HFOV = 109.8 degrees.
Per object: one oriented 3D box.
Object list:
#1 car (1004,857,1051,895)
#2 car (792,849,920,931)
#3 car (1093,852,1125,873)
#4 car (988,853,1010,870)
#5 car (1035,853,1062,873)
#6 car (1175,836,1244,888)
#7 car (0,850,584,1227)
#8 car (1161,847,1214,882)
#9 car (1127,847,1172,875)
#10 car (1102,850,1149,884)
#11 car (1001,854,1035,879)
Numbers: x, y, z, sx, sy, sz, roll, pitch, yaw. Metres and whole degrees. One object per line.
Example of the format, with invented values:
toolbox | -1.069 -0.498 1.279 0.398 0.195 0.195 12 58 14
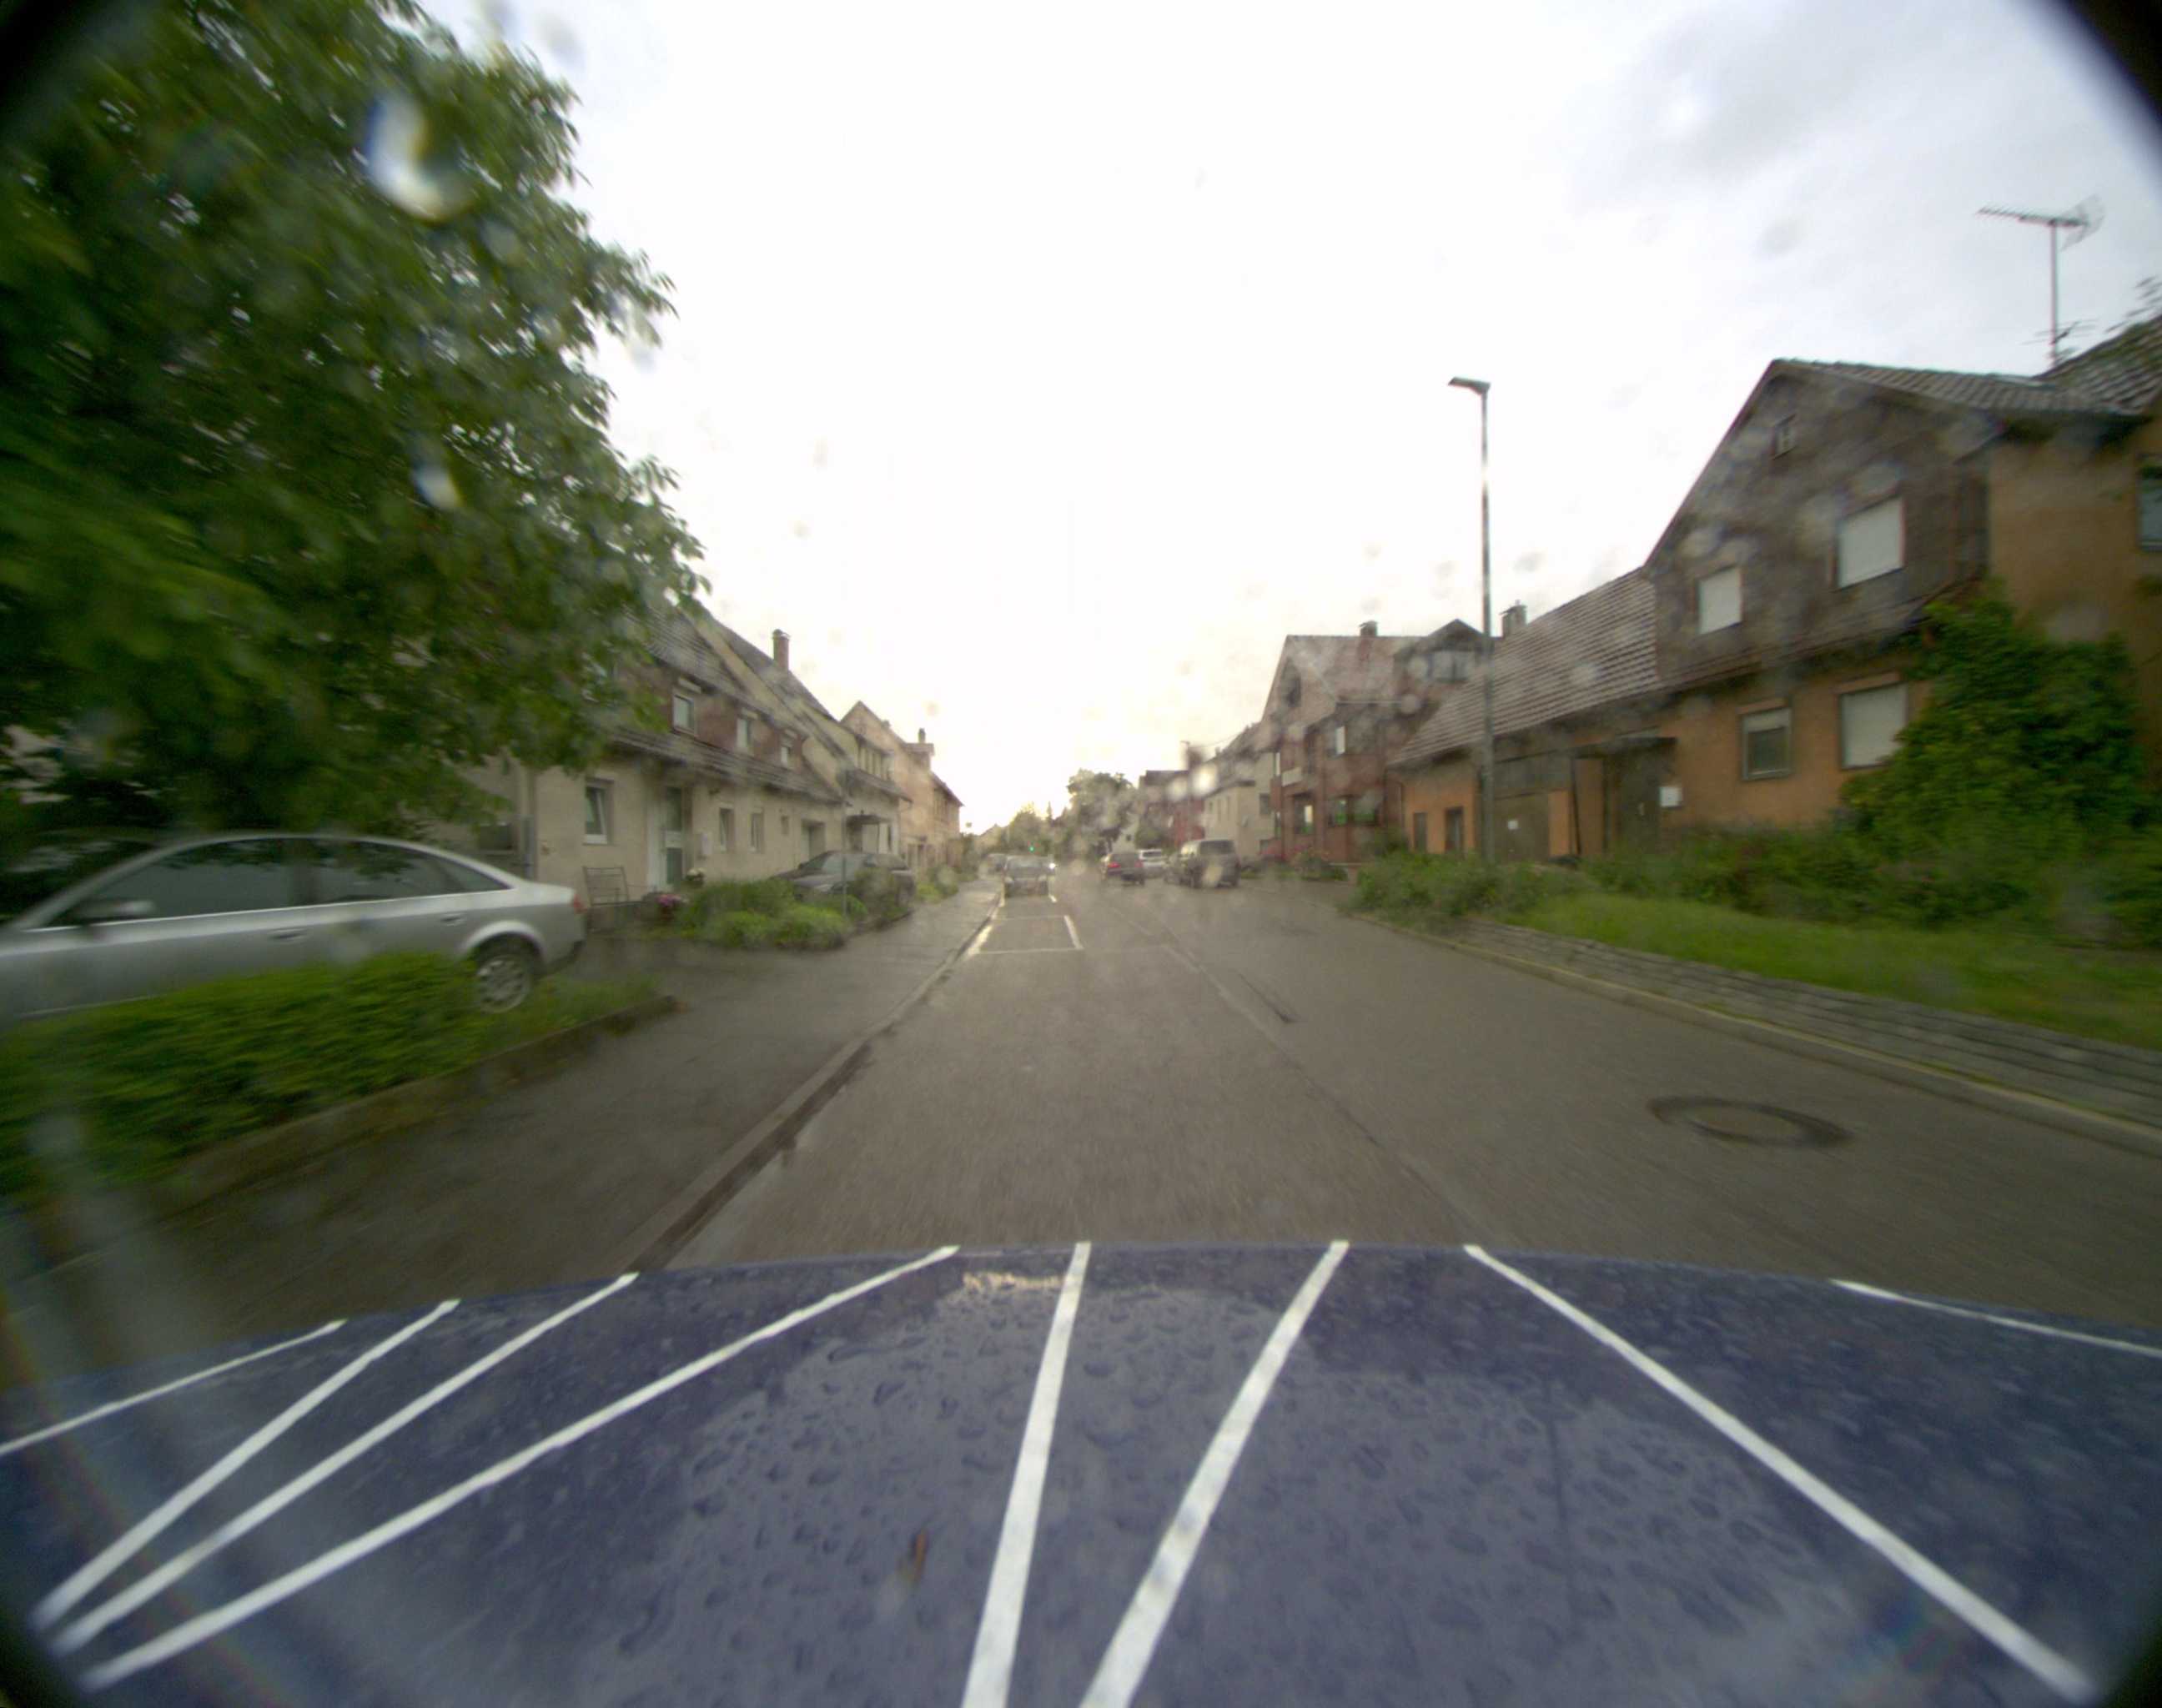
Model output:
car | -2.220 0.863 31.750 1.788 1.455 3.998 -1 0 -3
car | -5.151 0.739 17.994 1.999 1.721 4.068 0 0 -3
car | 2.229 0.642 60.674 1.813 1.612 3.997 -1 0 -9
car | -7.885 0.710 73.035 2.000 1.521 3.997 -3 0 -7
car | -2.775 0.754 63.529 1.999 1.521 3.998 -3 0 -6
car | 5.257 0.308 31.587 1.846 1.912 4.188 -3 0 -3
car | -5.660 0.851 4.440 1.910 1.701 4.483 -1 0 13
car | 5.068 0.494 36.566 1.812 1.565 3.663 -1 0 -3
car | 4.083 0.405 45.961 1.813 1.612 3.997 -1 0 -9
car | 2.105 0.593 37.125 1.812 1.565 3.998 -1 0 -3
car | -3.982 0.762 48.384 1.999 1.521 3.998 -1 0 -4
